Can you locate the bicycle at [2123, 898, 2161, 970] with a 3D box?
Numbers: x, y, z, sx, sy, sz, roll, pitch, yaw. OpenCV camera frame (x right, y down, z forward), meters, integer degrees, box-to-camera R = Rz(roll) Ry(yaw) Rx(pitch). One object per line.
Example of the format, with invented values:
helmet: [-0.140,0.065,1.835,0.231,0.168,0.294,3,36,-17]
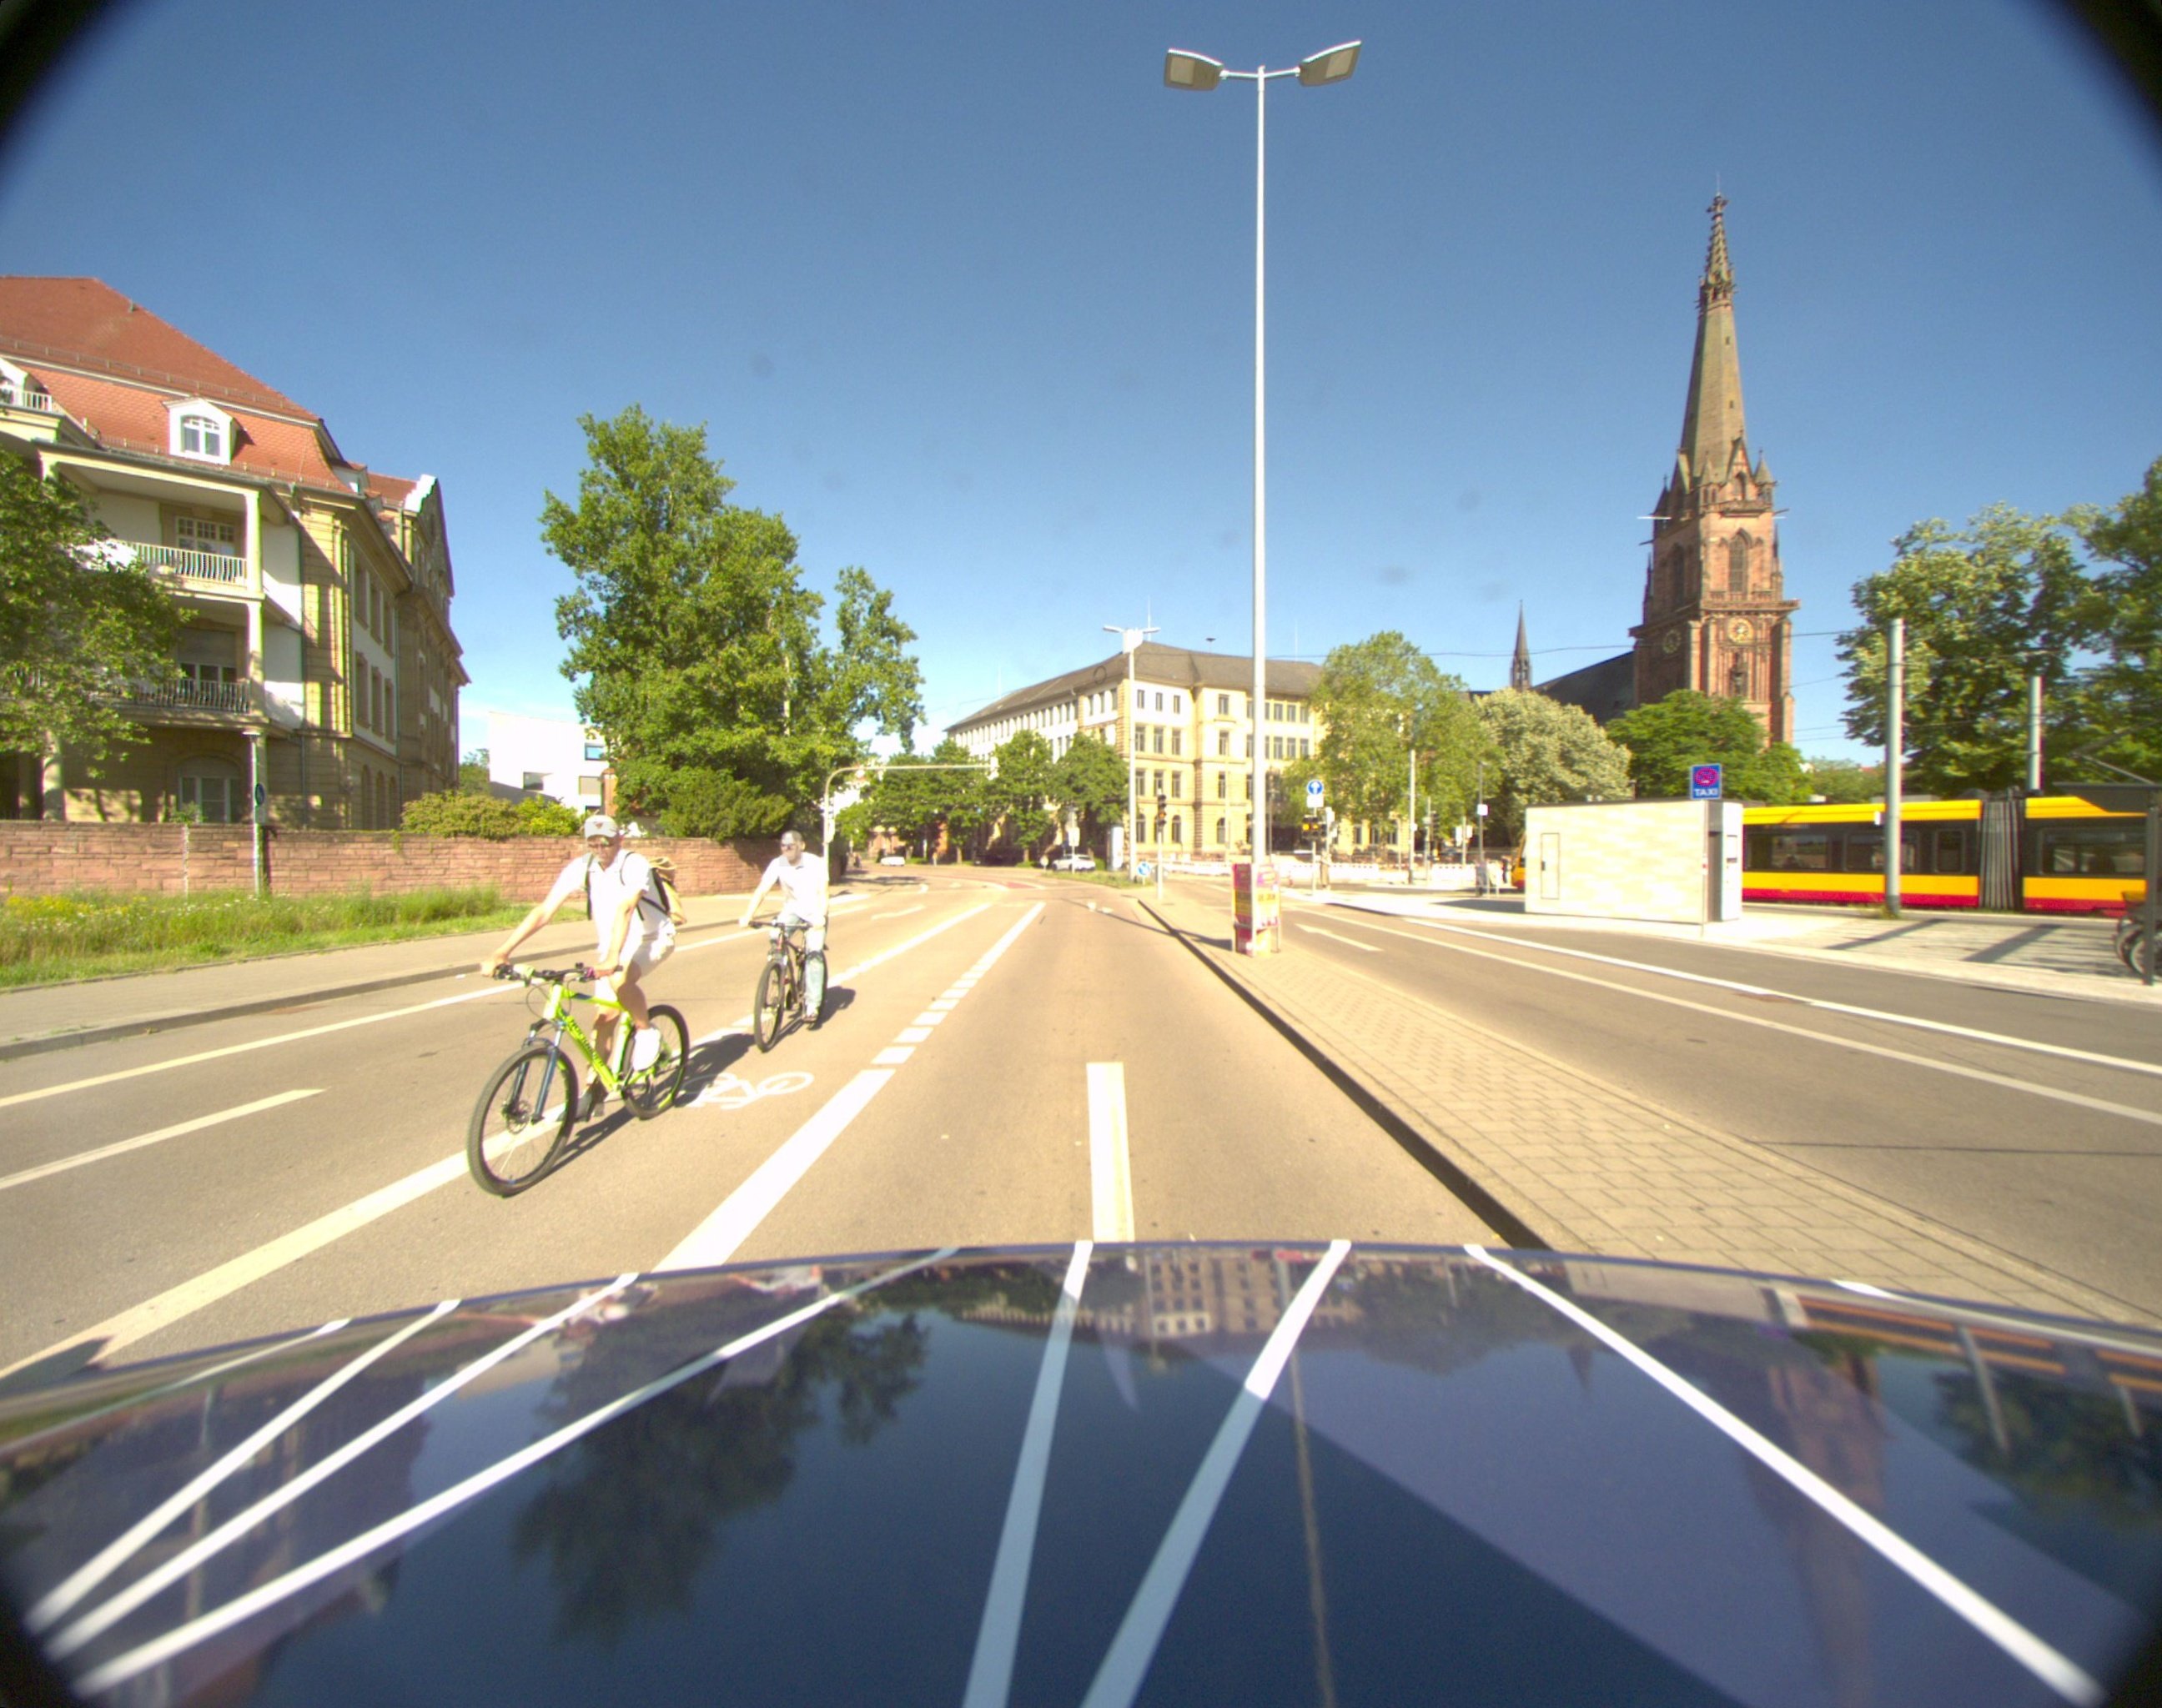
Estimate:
bicycle: [16.175,1.170,10.634,0.630,1.002,1.826,-1,1,-32]

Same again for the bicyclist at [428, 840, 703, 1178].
bicyclist: [-2.698,0.729,4.121,0.676,1.574,1.081,-2,1,0]

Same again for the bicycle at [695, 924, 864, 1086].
bicycle: [-2.564,1.233,6.723,0.749,1.044,1.903,0,1,-1]

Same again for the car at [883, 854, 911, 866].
car: [-22.073,0.693,91.145,1.853,1.477,4.154,-1,1,-35]

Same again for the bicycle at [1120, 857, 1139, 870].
bicycle: [3.947,0.784,61.991,0.601,1.000,1.984,-3,1,-25]

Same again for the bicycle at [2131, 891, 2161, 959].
bicycle: [17.162,1.109,11.259,0.630,1.002,1.826,-1,1,-32]

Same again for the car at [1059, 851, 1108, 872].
car: [0.175,0.601,60.060,1.851,1.543,4.324,1,1,-32]

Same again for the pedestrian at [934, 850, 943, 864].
pedestrian: [-18.055,0.392,96.230,0.759,1.802,0.977,-1,1,-40]

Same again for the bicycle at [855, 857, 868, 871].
bicycle: [-21.227,0.969,73.463,0.763,1.360,2.732,-1,1,-26]

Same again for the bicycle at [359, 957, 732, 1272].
bicycle: [-2.678,1.223,4.122,0.673,1.044,1.843,-2,1,0]

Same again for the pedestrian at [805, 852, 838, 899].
pedestrian: [-10.364,0.833,30.367,0.729,1.839,0.963,2,1,33]

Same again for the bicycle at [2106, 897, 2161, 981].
bicycle: [14.668,1.138,9.697,0.630,1.059,1.826,-1,1,-32]

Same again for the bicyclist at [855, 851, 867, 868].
bicyclist: [-21.262,0.533,73.541,0.871,1.551,1.277,-1,1,-27]

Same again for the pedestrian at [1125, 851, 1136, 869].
pedestrian: [4.017,0.489,61.818,0.596,1.394,0.644,-3,1,-24]

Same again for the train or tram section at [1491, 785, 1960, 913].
train or tram section: [21.791,-0.181,27.262,2.806,3.580,12.504,-1,1,-35]

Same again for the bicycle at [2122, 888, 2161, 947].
bicycle: [19.522,1.136,13.091,0.630,1.002,1.826,-1,1,-32]

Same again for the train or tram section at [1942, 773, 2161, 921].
train or tram section: [28.855,-0.159,17.067,2.806,3.580,12.294,-1,1,-35]

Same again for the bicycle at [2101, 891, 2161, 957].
bicycle: [17.809,1.147,12.095,0.630,1.002,1.826,-1,1,-32]

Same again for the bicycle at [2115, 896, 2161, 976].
bicycle: [15.138,1.124,9.962,0.574,1.045,1.826,-1,1,-32]

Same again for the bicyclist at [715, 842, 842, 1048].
bicyclist: [-2.572,0.733,6.560,0.742,1.664,0.865,0,1,-1]

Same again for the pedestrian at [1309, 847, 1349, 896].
pedestrian: [9.625,0.661,29.472,1.229,1.845,0.827,0,1,-10]

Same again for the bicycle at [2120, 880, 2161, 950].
bicycle: [18.943,1.059,12.683,0.630,1.172,1.826,-1,1,-32]

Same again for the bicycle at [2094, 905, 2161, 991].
bicycle: [13.927,1.214,9.224,0.702,1.002,1.863,-1,2,-32]

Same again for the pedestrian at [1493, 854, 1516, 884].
pedestrian: [24.819,0.870,44.524,0.807,1.731,0.933,-1,1,-35]
